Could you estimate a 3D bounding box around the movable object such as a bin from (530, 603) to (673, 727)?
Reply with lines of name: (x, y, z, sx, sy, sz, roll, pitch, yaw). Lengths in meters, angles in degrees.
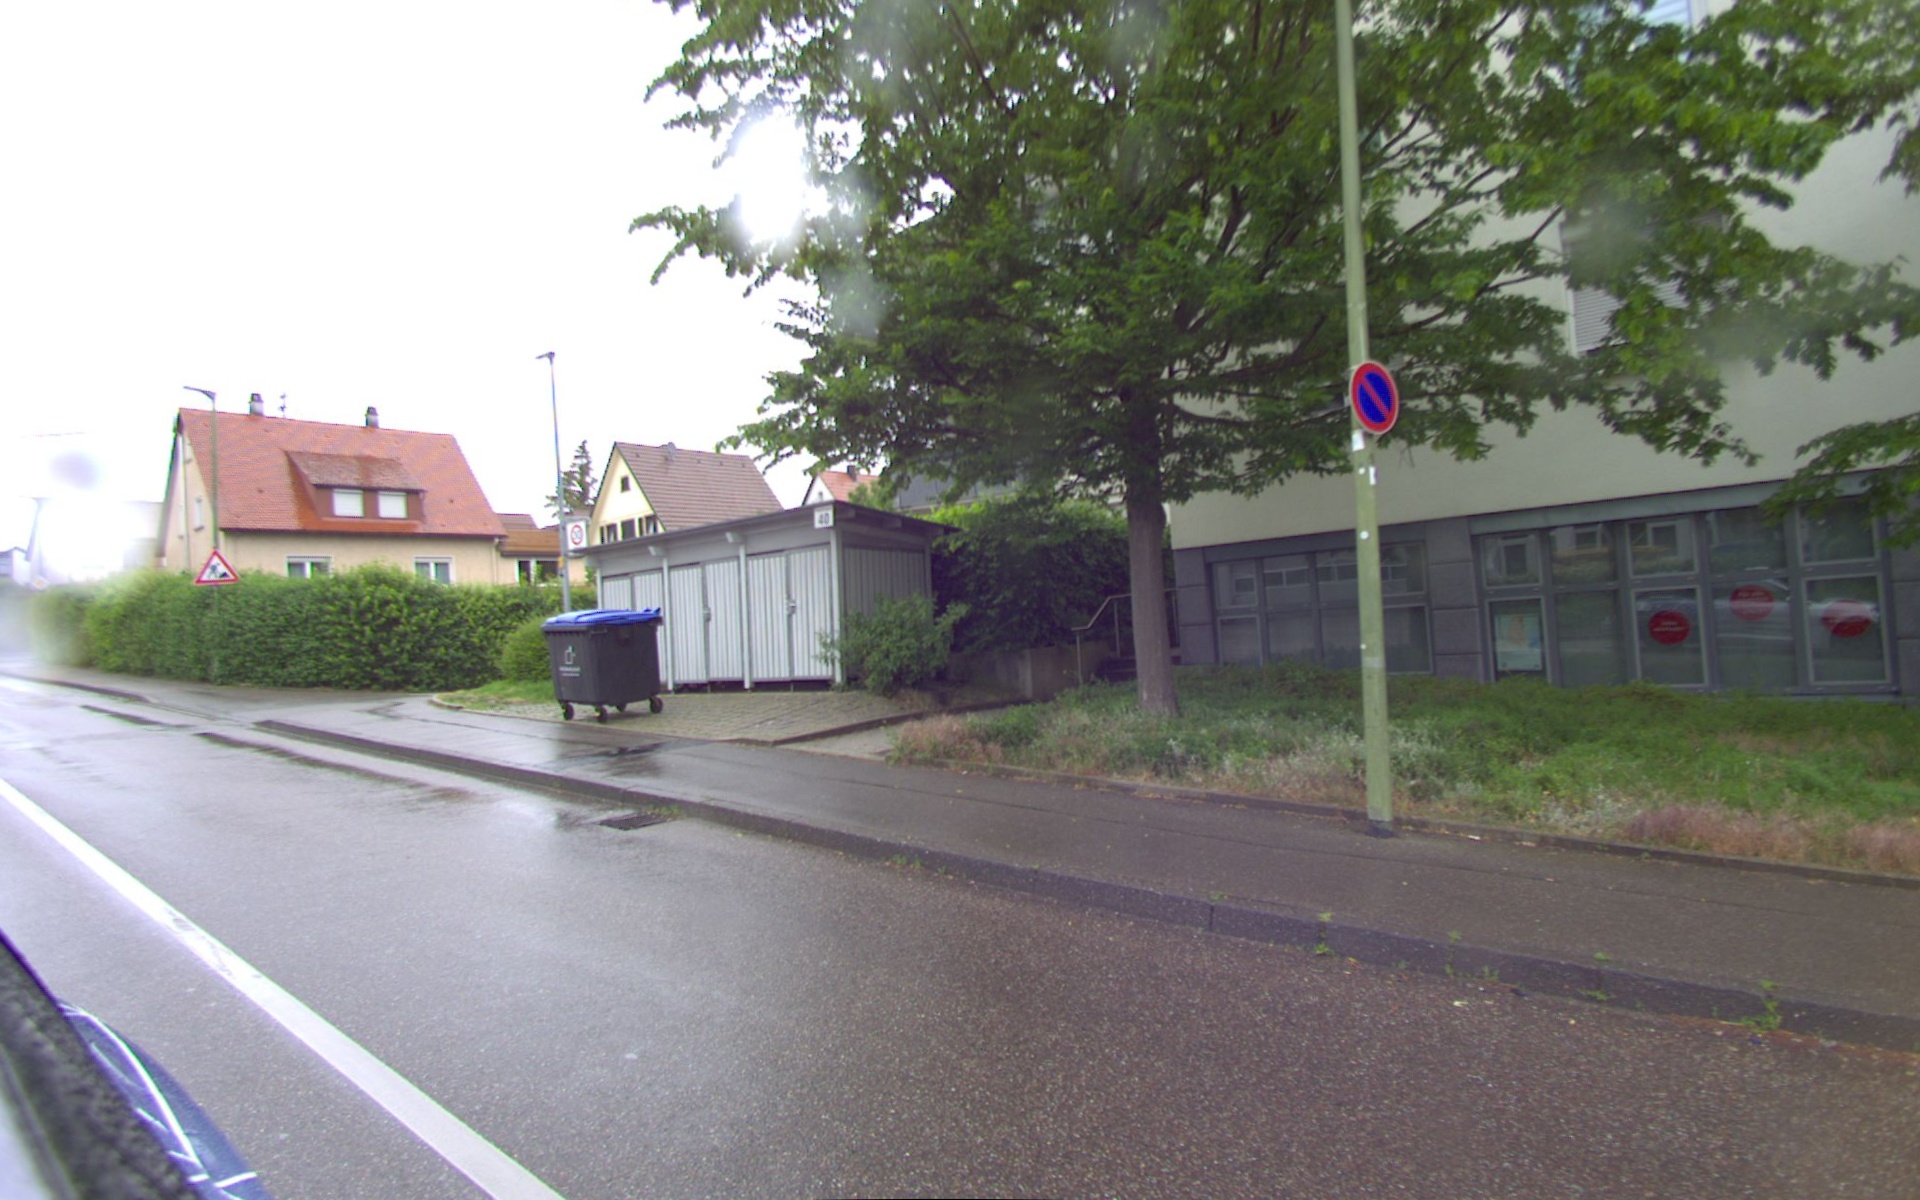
movable object such as a bin: (-4.386, 0.759, 12.379, 1.317, 1.357, 1.061, -2, 1, 39)
